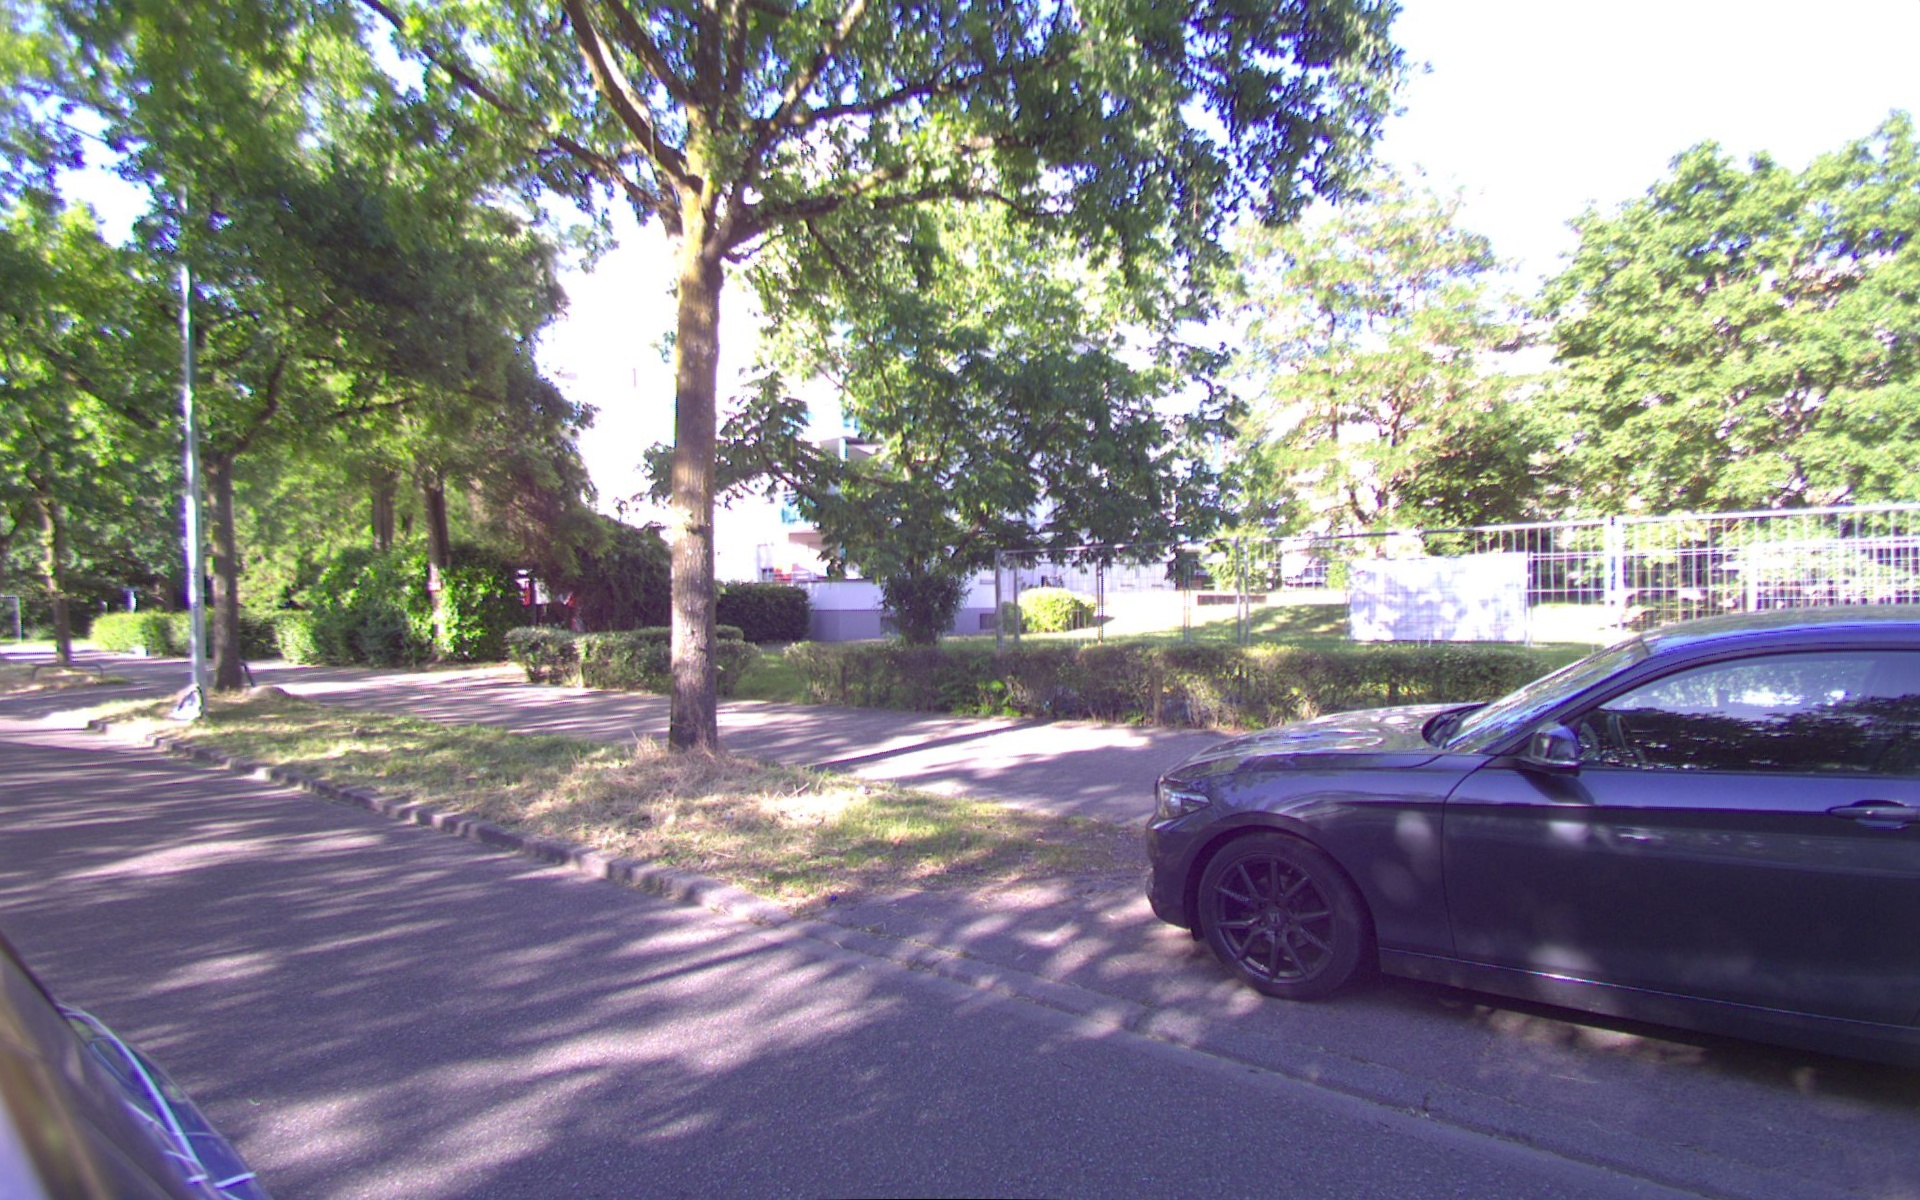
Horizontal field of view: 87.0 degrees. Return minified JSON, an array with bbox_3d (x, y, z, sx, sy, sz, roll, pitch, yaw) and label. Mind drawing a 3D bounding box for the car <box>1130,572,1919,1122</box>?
[{"bbox_3d":[2.858,0.654,3.536,4.130,1.443,1.700,-2,1,37],"label":"car"}]
